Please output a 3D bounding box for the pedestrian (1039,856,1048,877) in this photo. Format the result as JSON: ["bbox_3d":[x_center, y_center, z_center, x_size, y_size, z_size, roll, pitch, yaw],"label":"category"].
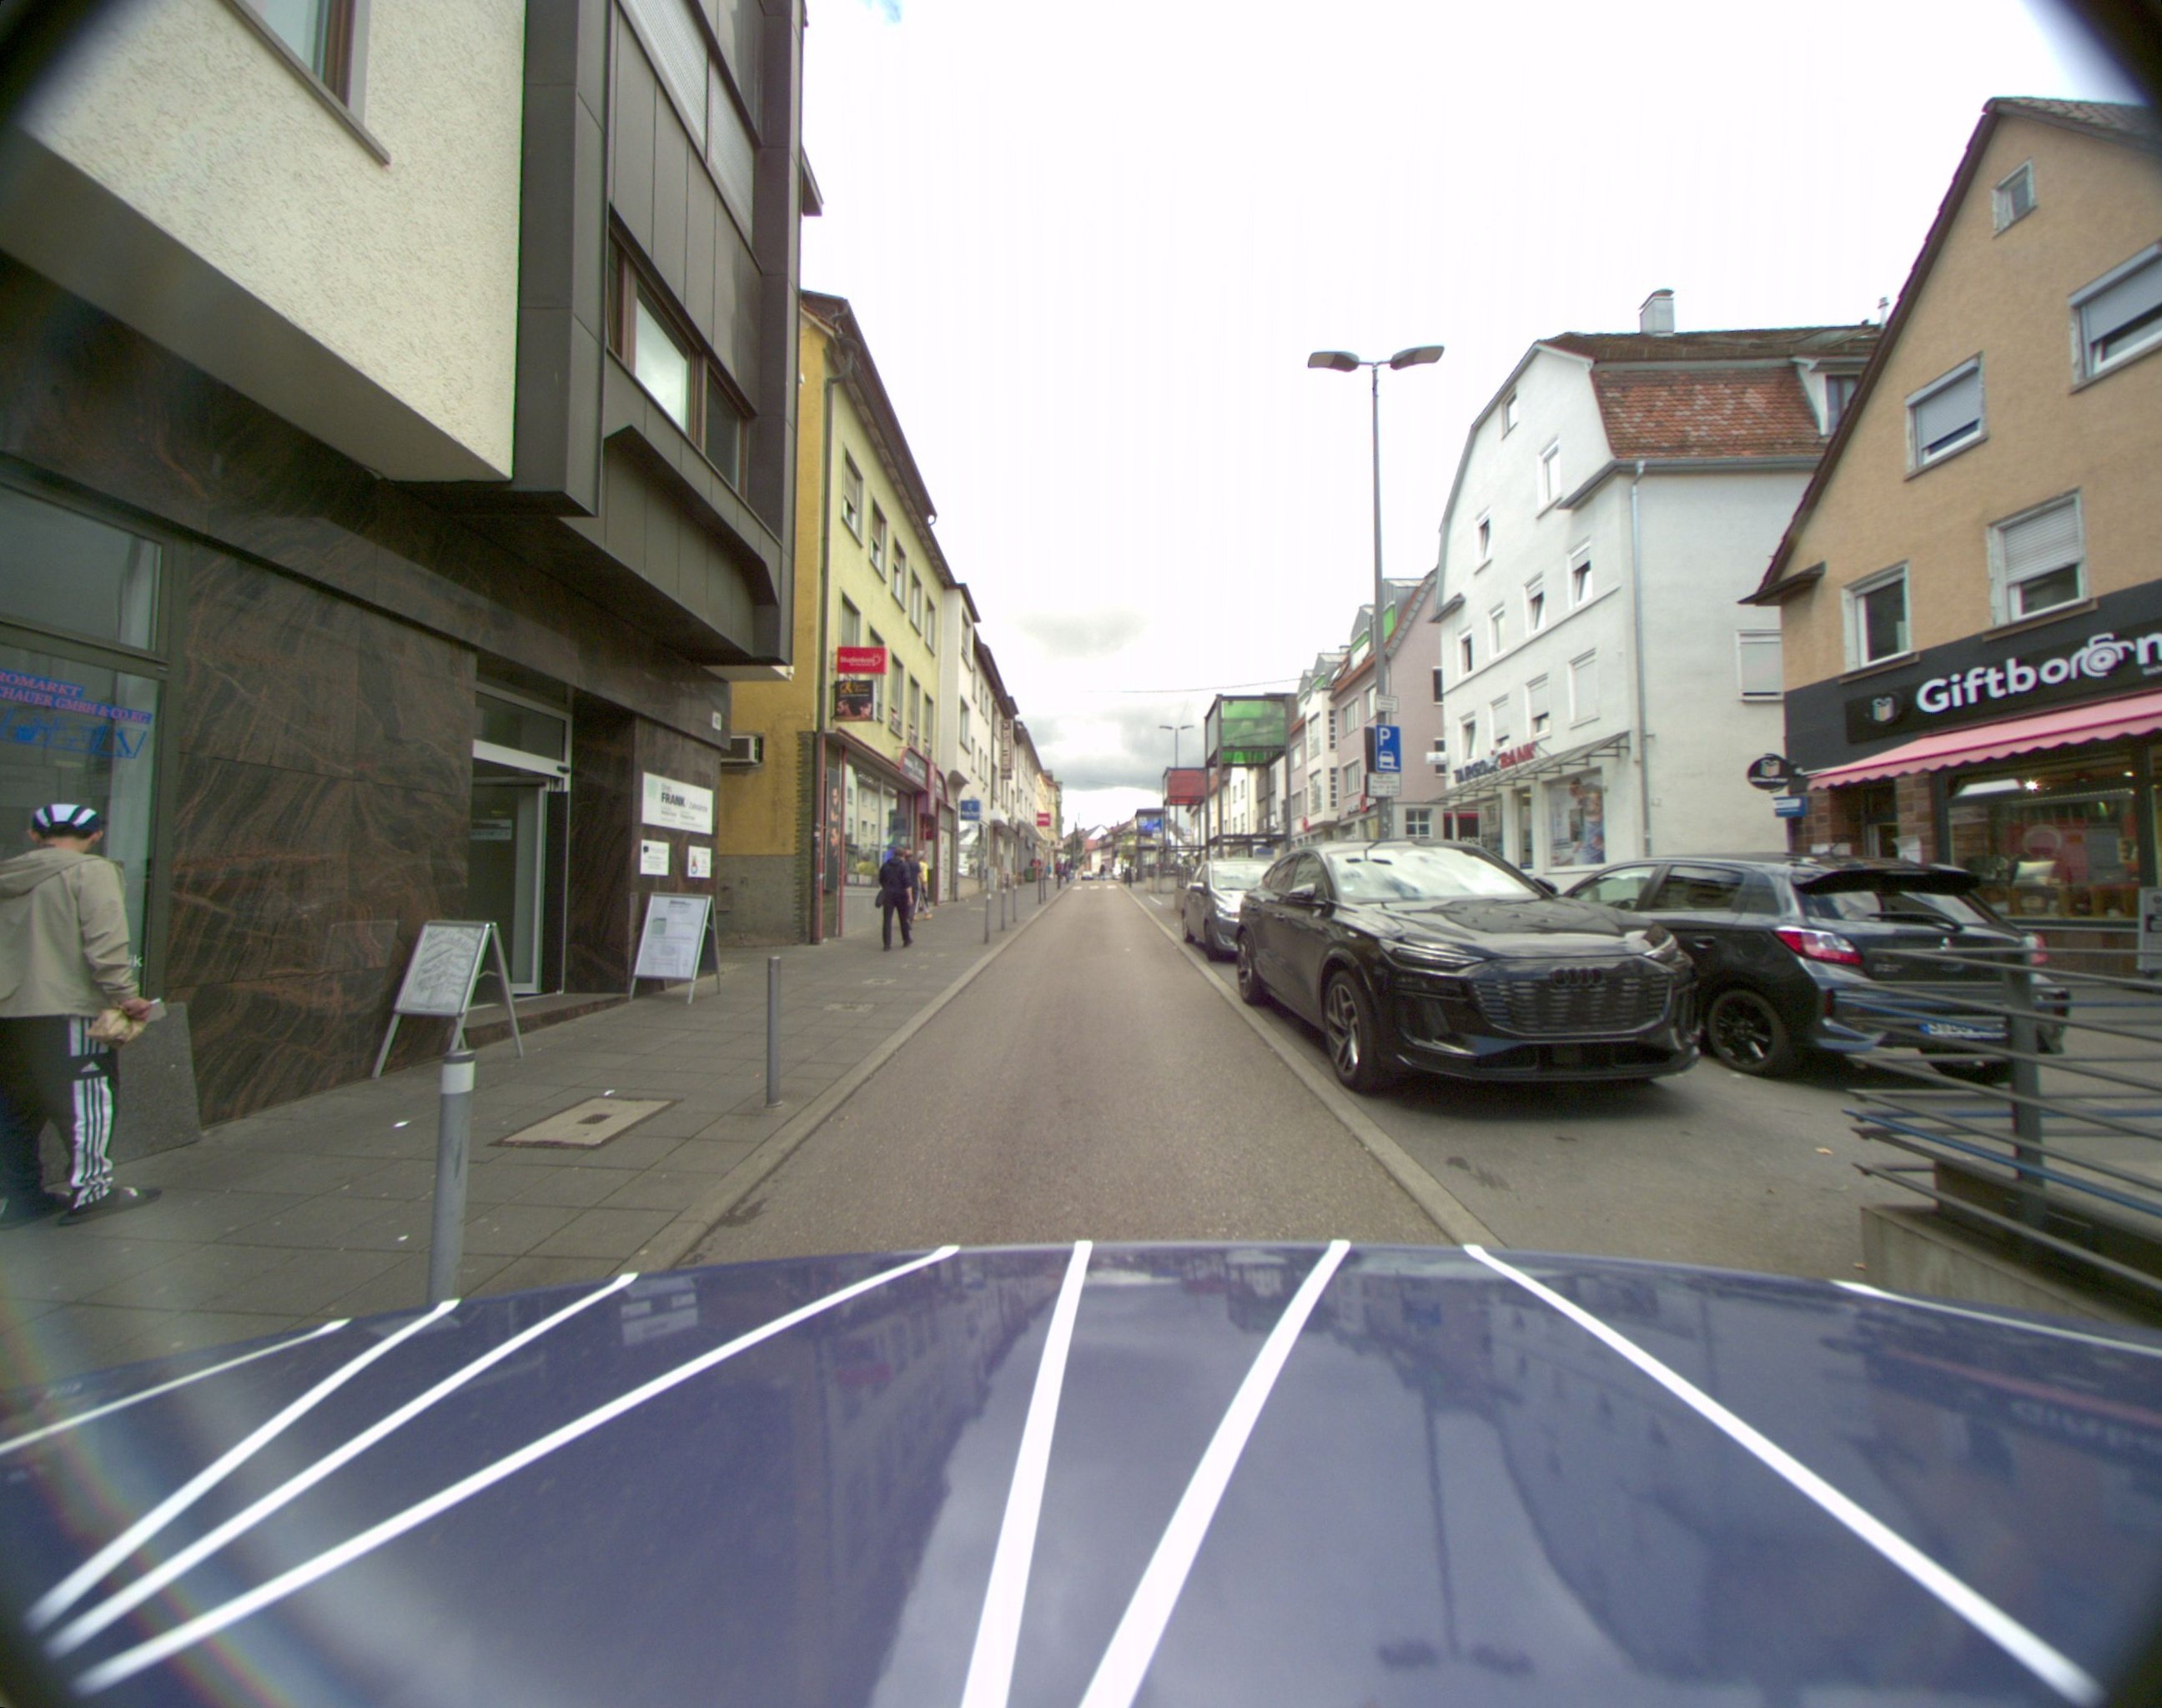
[{"bbox_3d":[-3.038,1.004,61.078,0.627,1.715,0.607,2,0,-4],"label":"pedestrian"}]

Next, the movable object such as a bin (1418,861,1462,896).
[{"bbox_3d":[14.477,0.985,30.655,1.286,1.368,1.067,-1,0,1],"label":"movable object such as a bin"}]

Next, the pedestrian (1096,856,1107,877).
[{"bbox_3d":[1.748,1.084,65.516,0.759,1.715,0.756,3,0,-4],"label":"pedestrian"}]

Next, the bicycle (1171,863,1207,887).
[{"bbox_3d":[5.473,1.074,38.626,1.782,1.216,0.460,0,1,0],"label":"bicycle"}]

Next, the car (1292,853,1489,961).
[{"bbox_3d":[5.148,0.781,13.301,1.743,1.534,4.193,-2,0,1],"label":"car"}]

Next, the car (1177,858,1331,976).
[{"bbox_3d":[2.576,0.864,12.103,1.624,1.523,3.670,-2,0,1],"label":"car"}]

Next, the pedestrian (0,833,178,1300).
[{"bbox_3d":[-4.241,0.766,2.976,0.665,1.679,0.543,3,0,-5],"label":"pedestrian"}]

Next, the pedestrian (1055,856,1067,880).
[{"bbox_3d":[-1.428,0.974,53.641,0.740,1.660,0.627,2,0,-8],"label":"pedestrian"}]

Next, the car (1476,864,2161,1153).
[{"bbox_3d":[5.107,0.877,6.126,1.743,1.467,3.883,3,0,0],"label":"car"}]

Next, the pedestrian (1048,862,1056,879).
[{"bbox_3d":[-2.855,1.632,74.555,0.627,1.620,0.607,-2,1,-4],"label":"pedestrian"}]

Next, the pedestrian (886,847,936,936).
[{"bbox_3d":[-3.488,0.752,15.639,0.713,1.743,0.785,4,0,1],"label":"pedestrian"}]

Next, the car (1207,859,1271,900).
[{"bbox_3d":[6.095,0.929,29.666,1.573,1.466,3.855,0,0,-2],"label":"car"}]

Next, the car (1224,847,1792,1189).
[{"bbox_3d":[2.529,0.812,5.925,1.961,1.630,4.314,-2,0,0],"label":"car"}]

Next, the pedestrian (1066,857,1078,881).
[{"bbox_3d":[-0.660,1.044,53.756,0.740,1.660,0.786,2,0,-8],"label":"pedestrian"}]

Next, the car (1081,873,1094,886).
[{"bbox_3d":[0.921,3.451,104.036,1.741,1.608,3.843,-2,0,1],"label":"car"}]

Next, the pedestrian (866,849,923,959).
[{"bbox_3d":[-3.087,0.805,12.627,0.713,1.743,0.787,1,0,1],"label":"pedestrian"}]

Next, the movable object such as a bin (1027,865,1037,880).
[{"bbox_3d":[-3.379,1.286,52.556,0.670,1.024,0.560,0,0,1],"label":"movable object such as a bin"}]

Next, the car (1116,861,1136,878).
[{"bbox_3d":[4.232,1.460,71.839,1.754,1.452,3.601,-2,0,2],"label":"car"}]

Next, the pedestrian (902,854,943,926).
[{"bbox_3d":[-3.664,0.815,17.616,0.713,1.621,0.835,2,0,1],"label":"pedestrian"}]

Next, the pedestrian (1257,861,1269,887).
[{"bbox_3d":[11.921,1.315,49.693,0.592,1.706,0.513,-2,1,1],"label":"pedestrian"}]

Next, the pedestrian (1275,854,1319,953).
[{"bbox_3d":[3.729,0.837,13.188,0.535,1.662,0.901,-1,0,4],"label":"pedestrian"}]

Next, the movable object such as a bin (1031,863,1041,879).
[{"bbox_3d":[-3.178,1.192,53.276,0.652,1.074,0.673,0,0,1],"label":"movable object such as a bin"}]

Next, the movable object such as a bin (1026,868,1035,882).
[{"bbox_3d":[-3.442,1.410,51.944,0.568,0.951,0.498,0,0,1],"label":"movable object such as a bin"}]
